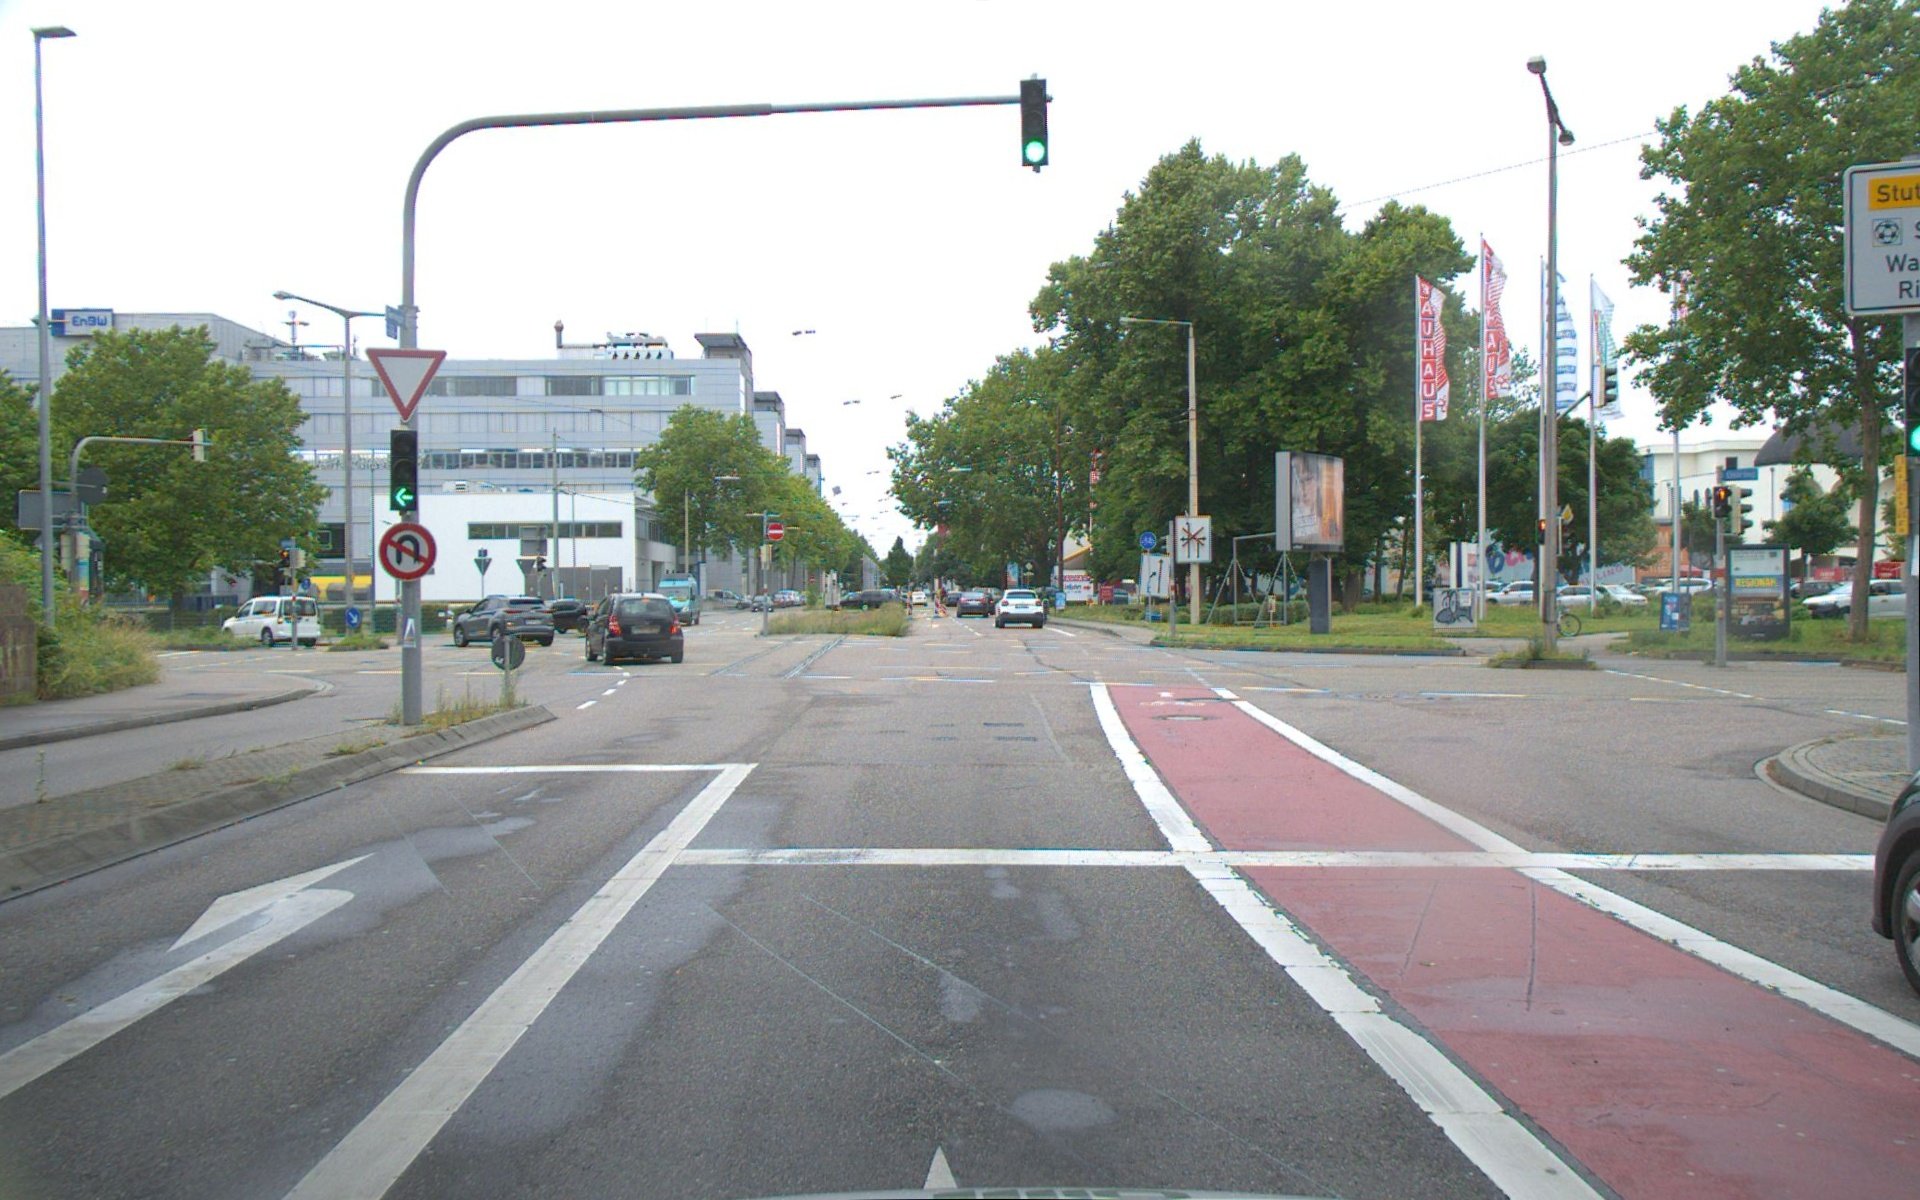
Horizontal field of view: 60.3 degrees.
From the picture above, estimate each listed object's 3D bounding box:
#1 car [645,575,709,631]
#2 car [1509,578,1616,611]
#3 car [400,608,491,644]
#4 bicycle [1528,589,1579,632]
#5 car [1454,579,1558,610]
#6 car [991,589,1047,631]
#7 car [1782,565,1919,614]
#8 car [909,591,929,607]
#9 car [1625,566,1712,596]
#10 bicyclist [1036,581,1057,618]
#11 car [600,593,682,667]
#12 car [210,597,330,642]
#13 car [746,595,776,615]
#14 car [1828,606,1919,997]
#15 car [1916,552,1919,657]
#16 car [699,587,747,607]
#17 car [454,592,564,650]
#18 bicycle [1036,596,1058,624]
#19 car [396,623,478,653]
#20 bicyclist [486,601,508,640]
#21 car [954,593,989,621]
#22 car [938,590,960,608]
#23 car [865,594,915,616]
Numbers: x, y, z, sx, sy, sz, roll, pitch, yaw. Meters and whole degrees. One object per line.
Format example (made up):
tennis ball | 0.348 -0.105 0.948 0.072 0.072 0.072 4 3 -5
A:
car | -15.318 0.157 89.892 2.280 2.875 5.950 -1 0 1
car | 28.584 -0.257 78.509 4.358 1.523 1.928 1 0 -7
car | -23.631 1.172 75.974 3.580 1.554 1.775 -1 0 17
bicycle | 16.587 0.282 46.199 1.790 1.137 0.481 -2 0 -40
car | 28.047 -0.270 85.061 4.582 1.523 2.169 1 0 -4
car | 2.324 0.370 66.276 1.788 1.628 3.772 0 1 -5
car | 29.178 -0.334 53.649 4.139 1.523 1.929 1 0 -6
car | -4.123 -0.112 164.117 1.760 1.540 3.702 0 1 -5
car | 43.545 -1.162 101.736 4.467 1.706 2.152 -1 0 -7
bicyclist | 3.988 -0.037 76.254 0.800 1.658 1.234 -1 0 -2
car | -7.262 0.647 37.594 1.737 1.554 3.659 0 1 -12
car | -25.427 0.685 60.883 4.913 1.554 1.960 1 1 38
car | -15.995 0.415 133.127 1.782 1.501 4.130 -2 -1 0
car | 4.458 0.785 4.942 1.645 1.456 3.773 2 0 -2
car | 19.212 0.062 28.868 4.326 1.861 1.876 -1 -1 31
car | -22.502 -0.298 156.981 4.325 1.814 1.824 -1 0 -4
car | -13.922 0.602 50.976 1.766 1.681 3.609 0 1 -45
bicycle | 4.002 0.437 76.257 0.800 1.234 2.682 -1 0 -2
car | -30.480 2.214 96.436 4.125 1.559 1.913 -1 0 -1
bicyclist | -19.130 0.841 68.303 0.631 1.545 0.627 1 1 15
car | 0.634 0.399 94.595 1.651 1.540 3.702 0 1 -5
car | -1.048 -0.096 155.987 1.840 1.661 3.997 -2 0 -3
car | -5.338 0.365 126.685 3.805 1.583 1.824 1 0 -3
